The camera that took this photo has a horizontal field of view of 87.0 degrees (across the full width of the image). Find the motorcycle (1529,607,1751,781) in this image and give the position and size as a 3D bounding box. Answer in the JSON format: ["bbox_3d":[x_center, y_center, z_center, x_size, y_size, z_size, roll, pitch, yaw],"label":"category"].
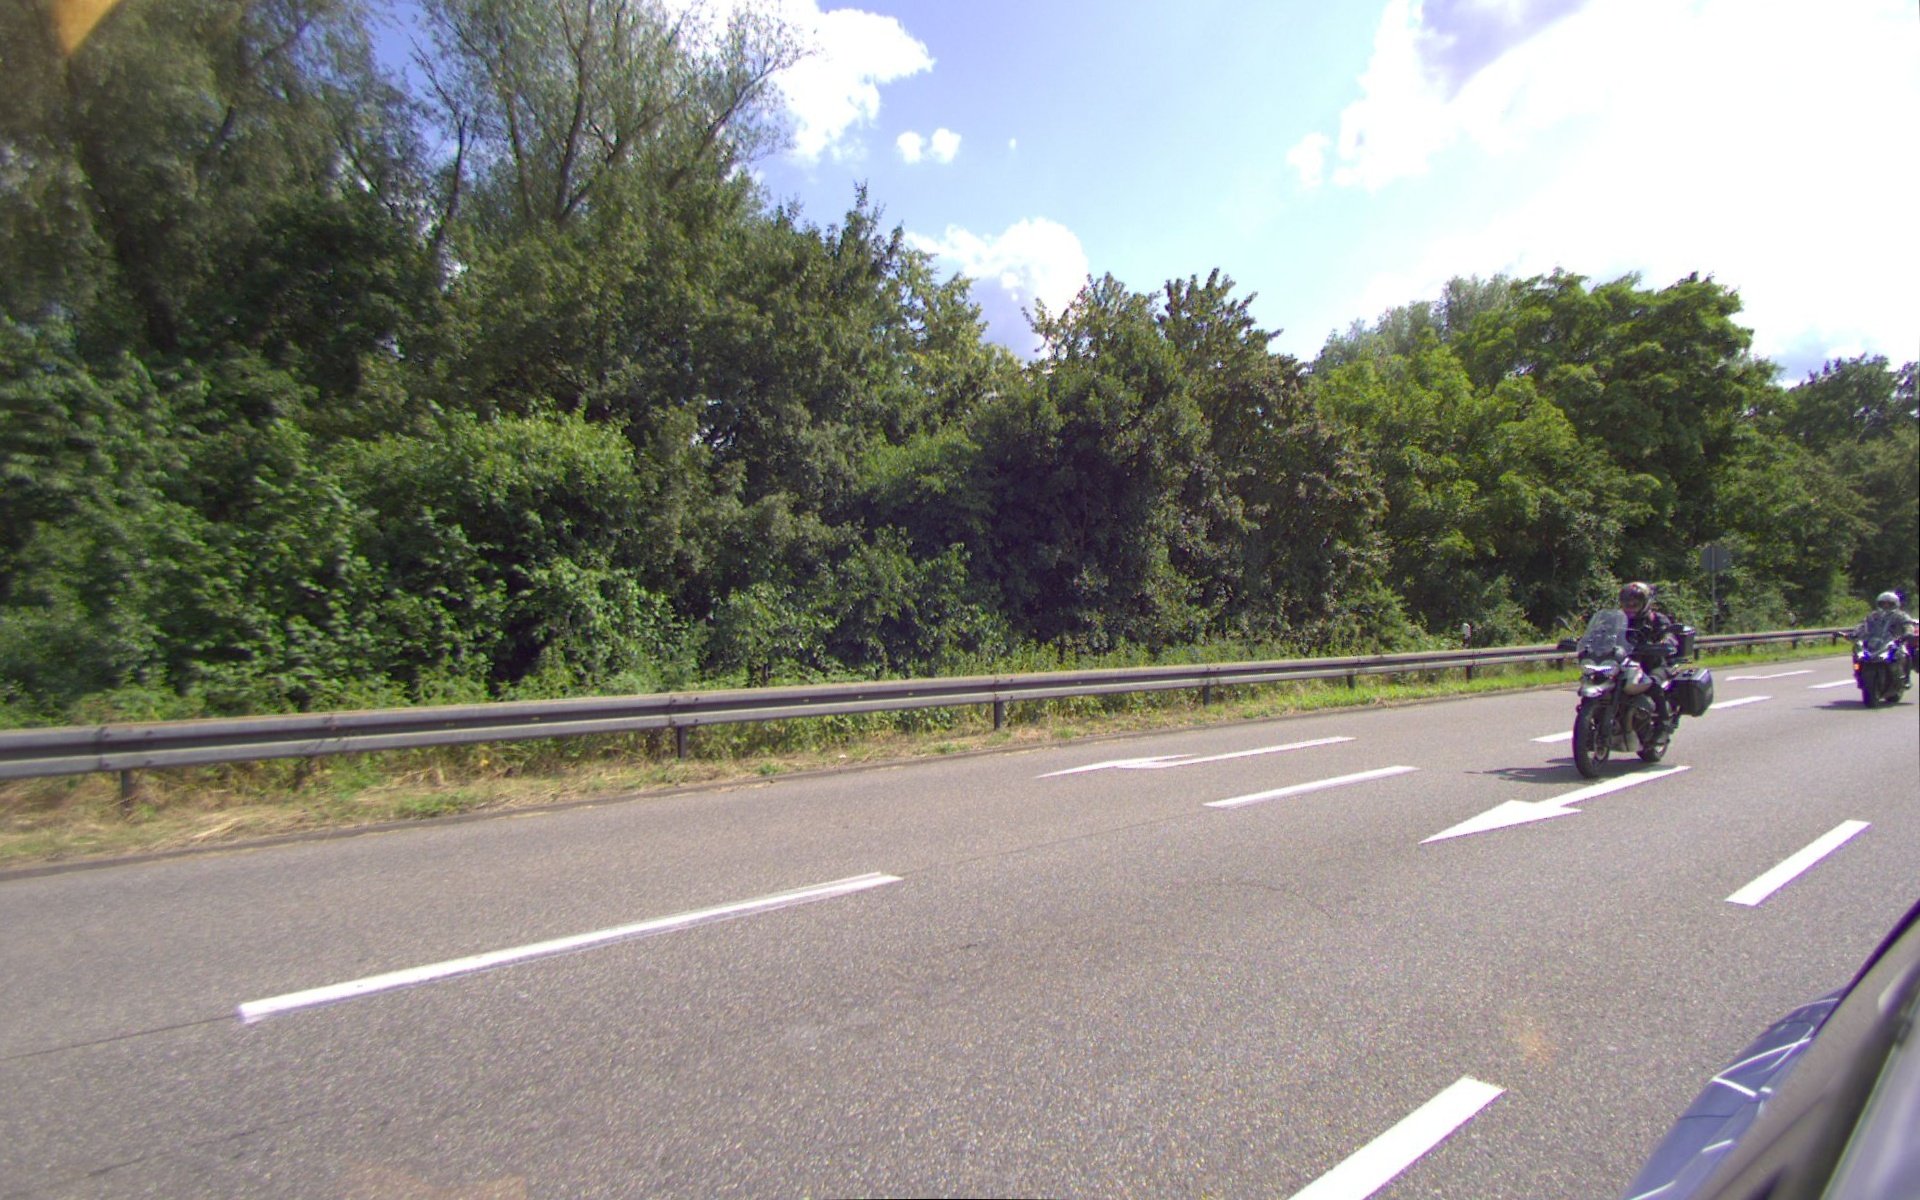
[{"bbox_3d":[6.262,0.767,9.272,2.325,1.401,0.939,0,-1,-36],"label":"motorcycle"}]

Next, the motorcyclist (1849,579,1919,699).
[{"bbox_3d":[13.962,0.562,15.068,0.877,1.722,0.868,1,-1,-34],"label":"motorcyclist"}]

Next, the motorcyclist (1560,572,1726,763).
[{"bbox_3d":[6.251,0.575,9.275,1.063,1.611,0.939,0,-1,-36],"label":"motorcyclist"}]

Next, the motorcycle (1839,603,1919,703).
[{"bbox_3d":[14.181,0.758,15.210,2.324,1.407,0.868,1,-1,-34],"label":"motorcycle"}]
